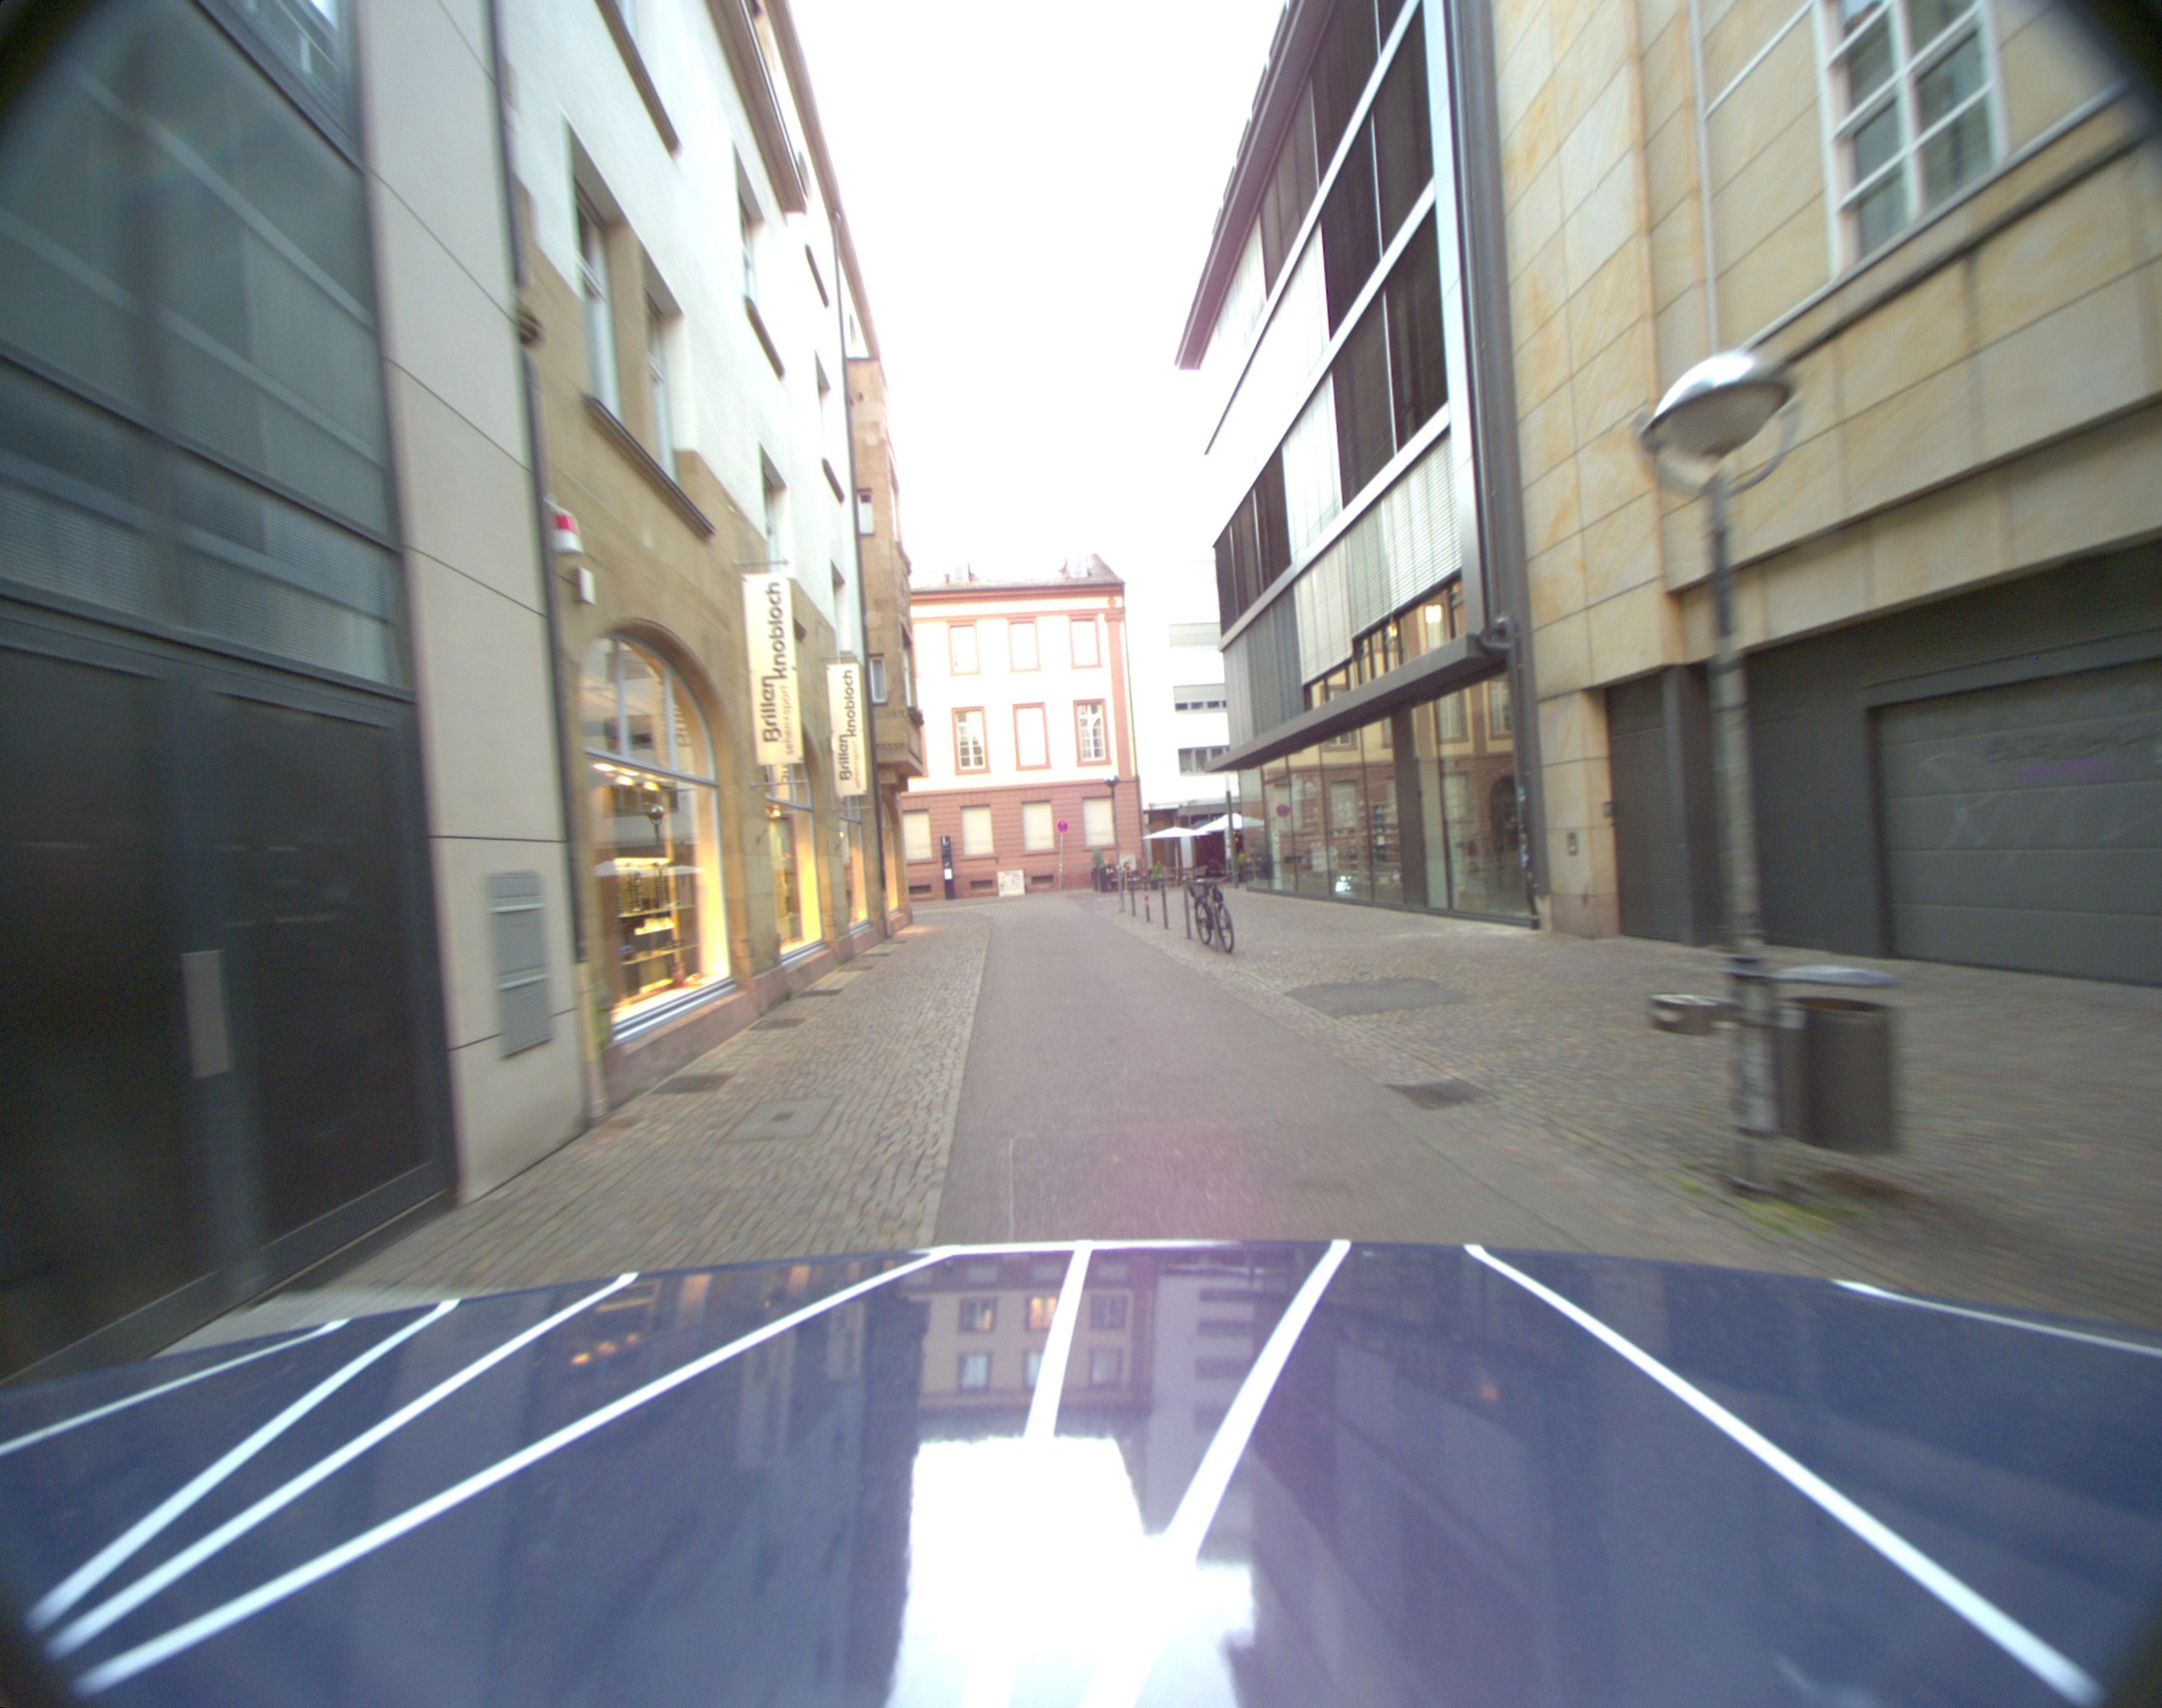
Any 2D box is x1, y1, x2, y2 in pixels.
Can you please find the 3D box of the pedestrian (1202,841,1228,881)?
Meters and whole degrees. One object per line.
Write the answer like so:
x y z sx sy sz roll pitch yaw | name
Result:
5.785 0.302 32.842 0.725 1.639 0.792 -5 1 -11 | pedestrian

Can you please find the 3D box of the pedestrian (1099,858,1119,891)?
1.195 0.852 32.544 0.673 1.324 0.792 -4 2 -7 | pedestrian

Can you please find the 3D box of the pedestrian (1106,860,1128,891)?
1.476 0.878 31.248 0.674 1.177 0.792 -5 2 -11 | pedestrian

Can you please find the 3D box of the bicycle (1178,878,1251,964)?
2.001 0.970 11.622 0.411 1.126 1.929 -5 1 -9 | bicycle

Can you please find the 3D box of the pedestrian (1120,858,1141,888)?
2.076 0.782 32.214 0.673 1.177 0.792 -4 2 -7 | pedestrian
